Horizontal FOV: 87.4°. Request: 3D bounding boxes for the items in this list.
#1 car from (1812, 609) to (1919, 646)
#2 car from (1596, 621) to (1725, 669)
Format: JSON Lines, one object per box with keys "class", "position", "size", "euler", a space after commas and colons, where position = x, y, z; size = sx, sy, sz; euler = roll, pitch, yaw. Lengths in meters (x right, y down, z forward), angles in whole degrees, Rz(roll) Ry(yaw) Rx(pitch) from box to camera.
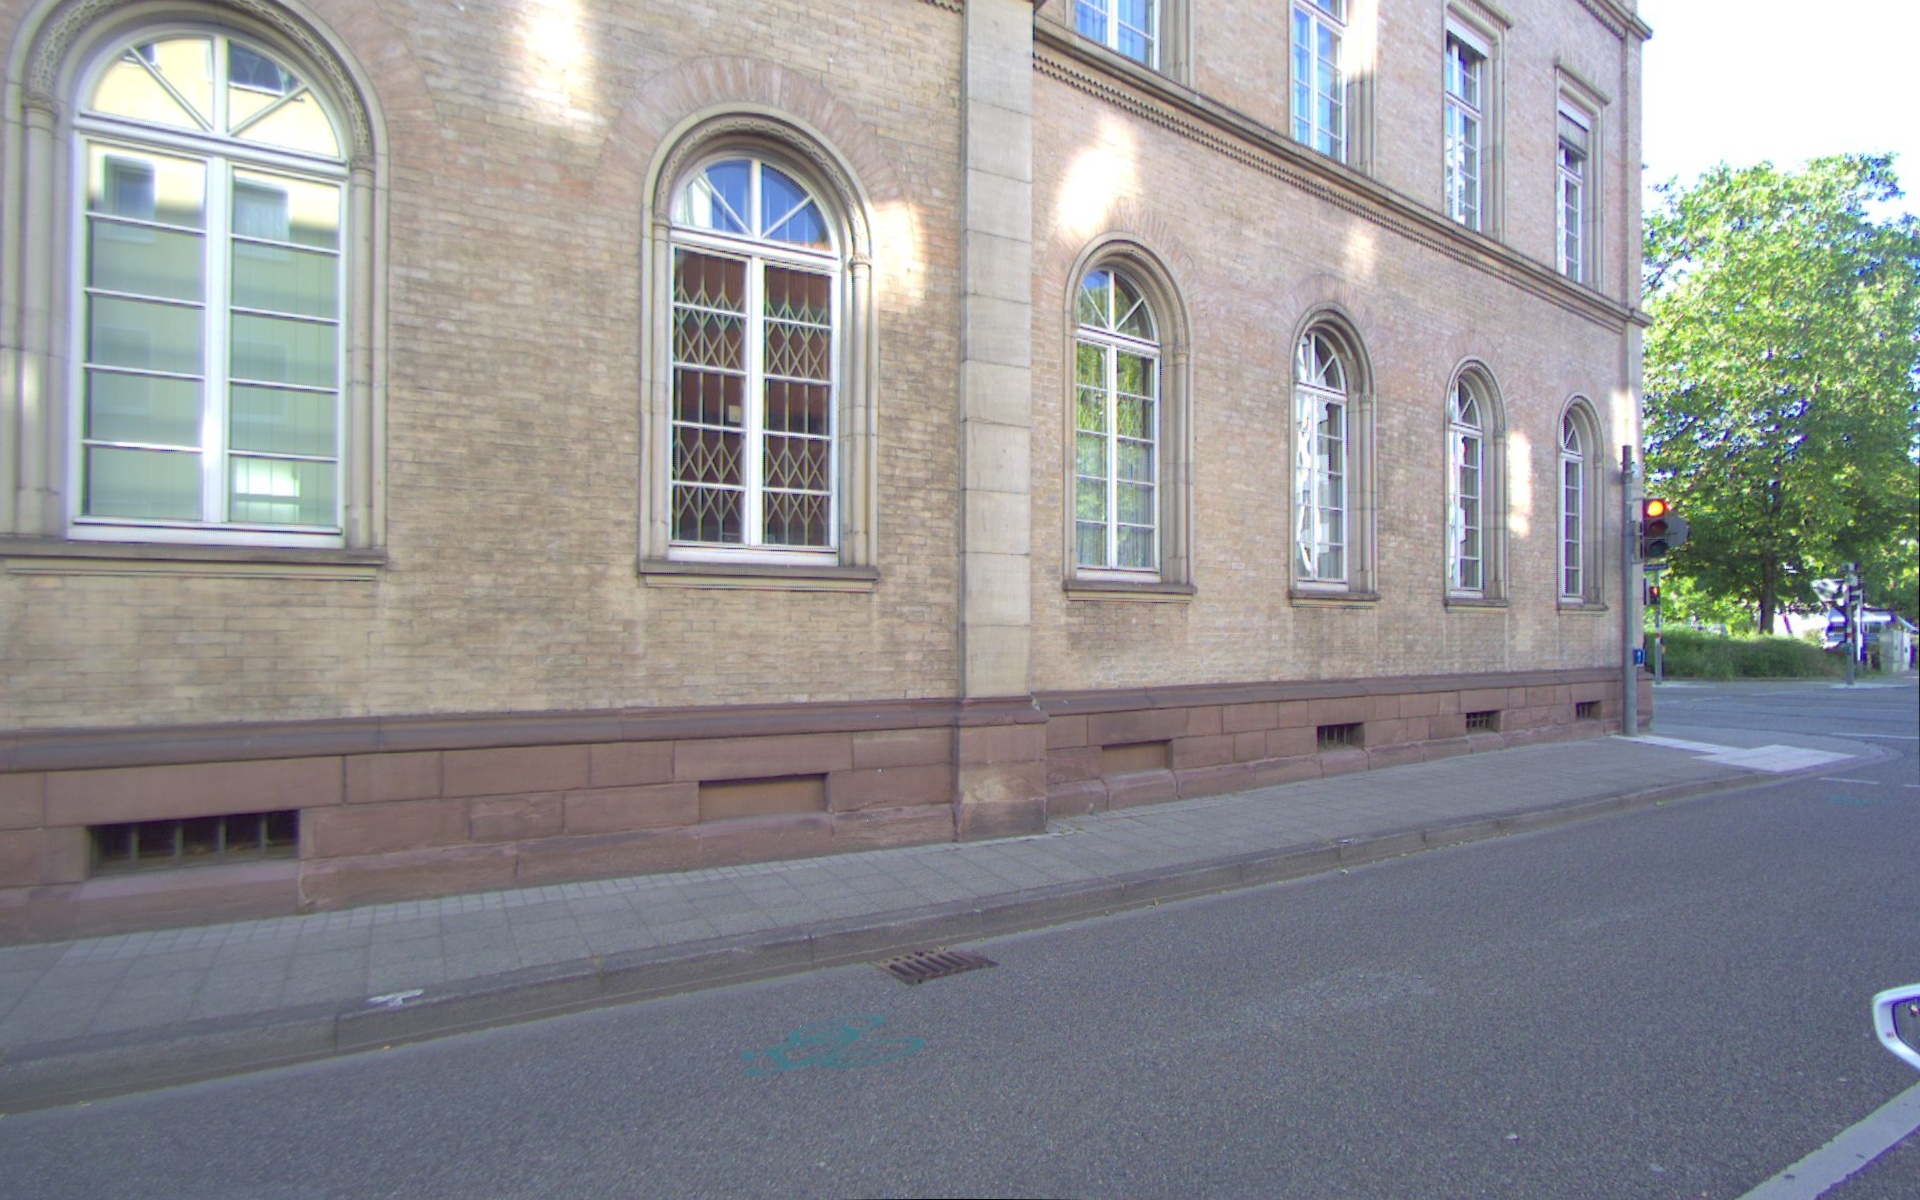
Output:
{"class": "car", "position": [53.496, 1.607, 59.387], "size": [1.983, 2.040, 4.409], "euler": [2, 0, -38]}
{"class": "car", "position": [24.375, 1.521, 35.025], "size": [1.636, 1.476, 3.382], "euler": [2, 0, -39]}
